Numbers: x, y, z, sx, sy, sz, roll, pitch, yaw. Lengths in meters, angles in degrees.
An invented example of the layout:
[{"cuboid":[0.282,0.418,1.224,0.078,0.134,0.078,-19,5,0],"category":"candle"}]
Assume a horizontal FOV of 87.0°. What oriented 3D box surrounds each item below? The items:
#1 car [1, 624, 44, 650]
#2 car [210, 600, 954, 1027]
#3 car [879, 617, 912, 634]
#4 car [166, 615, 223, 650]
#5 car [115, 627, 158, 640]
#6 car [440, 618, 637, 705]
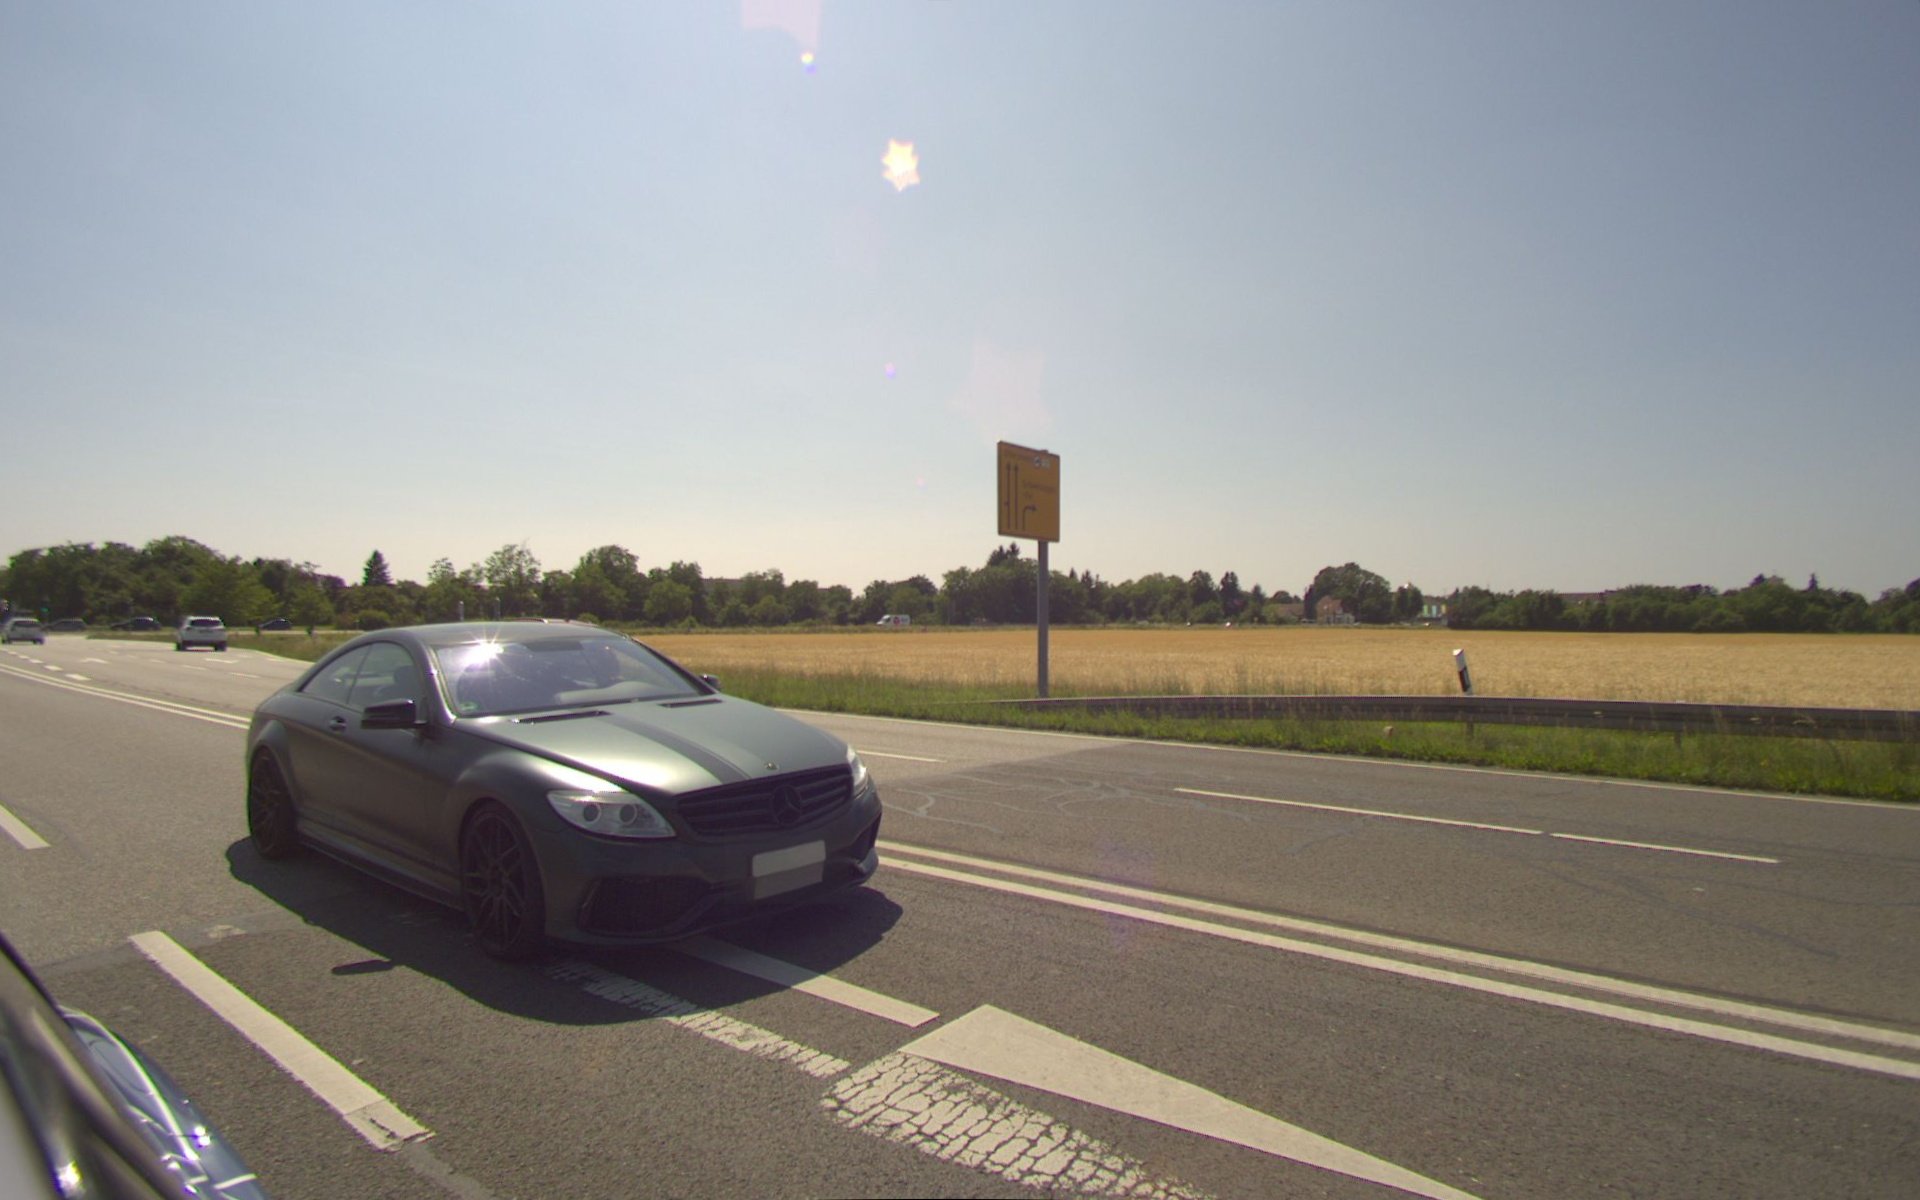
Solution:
[{"cuboid":[-53.922,2.095,58.185,1.729,1.453,4.084,1,-2,-44],"category":"car"},{"cuboid":[-2.474,0.779,5.777,4.872,1.461,1.793,-1,0,40],"category":"car"},{"cuboid":[-11.827,4.677,185.677,6.285,2.931,2.002,-1,1,-43],"category":"car"},{"cuboid":[-38.428,1.648,50.767,4.464,1.689,1.646,-2,-4,45],"category":"car"},{"cuboid":[-94.621,3.842,116.259,3.820,1.397,1.637,0,-2,-41],"category":"car"},{"cuboid":[-8.724,1.191,20.807,4.307,1.574,1.973,0,-2,40],"category":"car"}]
